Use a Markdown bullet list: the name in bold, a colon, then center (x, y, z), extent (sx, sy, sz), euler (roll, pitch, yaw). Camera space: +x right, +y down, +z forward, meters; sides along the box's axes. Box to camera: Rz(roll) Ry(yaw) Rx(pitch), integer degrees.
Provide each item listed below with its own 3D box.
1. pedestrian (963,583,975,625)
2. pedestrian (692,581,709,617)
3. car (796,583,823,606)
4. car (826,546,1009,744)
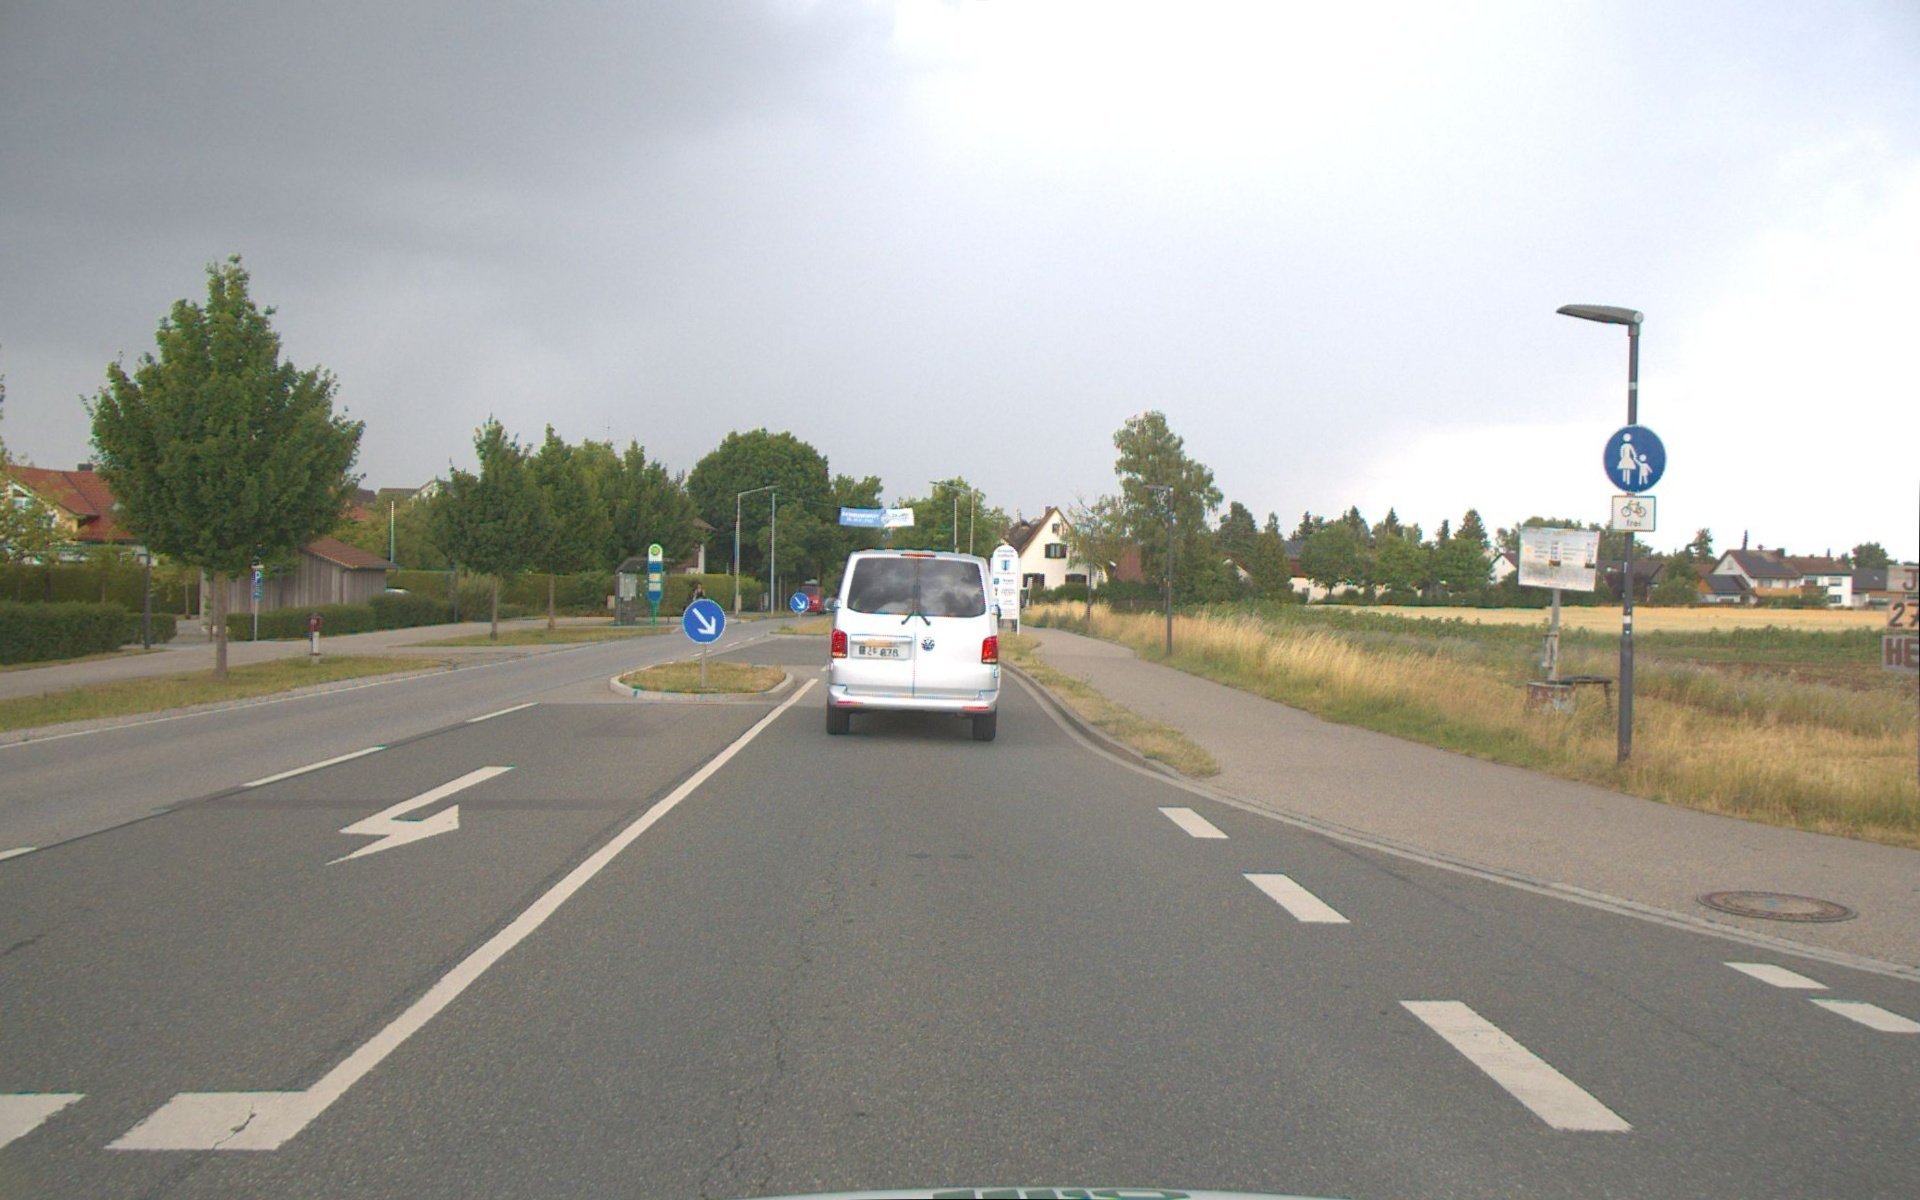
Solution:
- **pedestrian**: center (0.386, 0.169, 70.180), extent (0.475, 1.762, 0.642), euler (-1, 0, -3)
- **pedestrian**: center (-11.364, -0.039, 72.477), extent (0.611, 1.551, 0.679), euler (-1, 0, -2)
- **car**: center (-10.210, -0.382, 112.404), extent (1.620, 1.454, 3.601), euler (-1, 1, -2)
- **car**: center (-0.539, 0.433, 18.704), extent (1.789, 1.947, 3.997), euler (2, 0, -3)
